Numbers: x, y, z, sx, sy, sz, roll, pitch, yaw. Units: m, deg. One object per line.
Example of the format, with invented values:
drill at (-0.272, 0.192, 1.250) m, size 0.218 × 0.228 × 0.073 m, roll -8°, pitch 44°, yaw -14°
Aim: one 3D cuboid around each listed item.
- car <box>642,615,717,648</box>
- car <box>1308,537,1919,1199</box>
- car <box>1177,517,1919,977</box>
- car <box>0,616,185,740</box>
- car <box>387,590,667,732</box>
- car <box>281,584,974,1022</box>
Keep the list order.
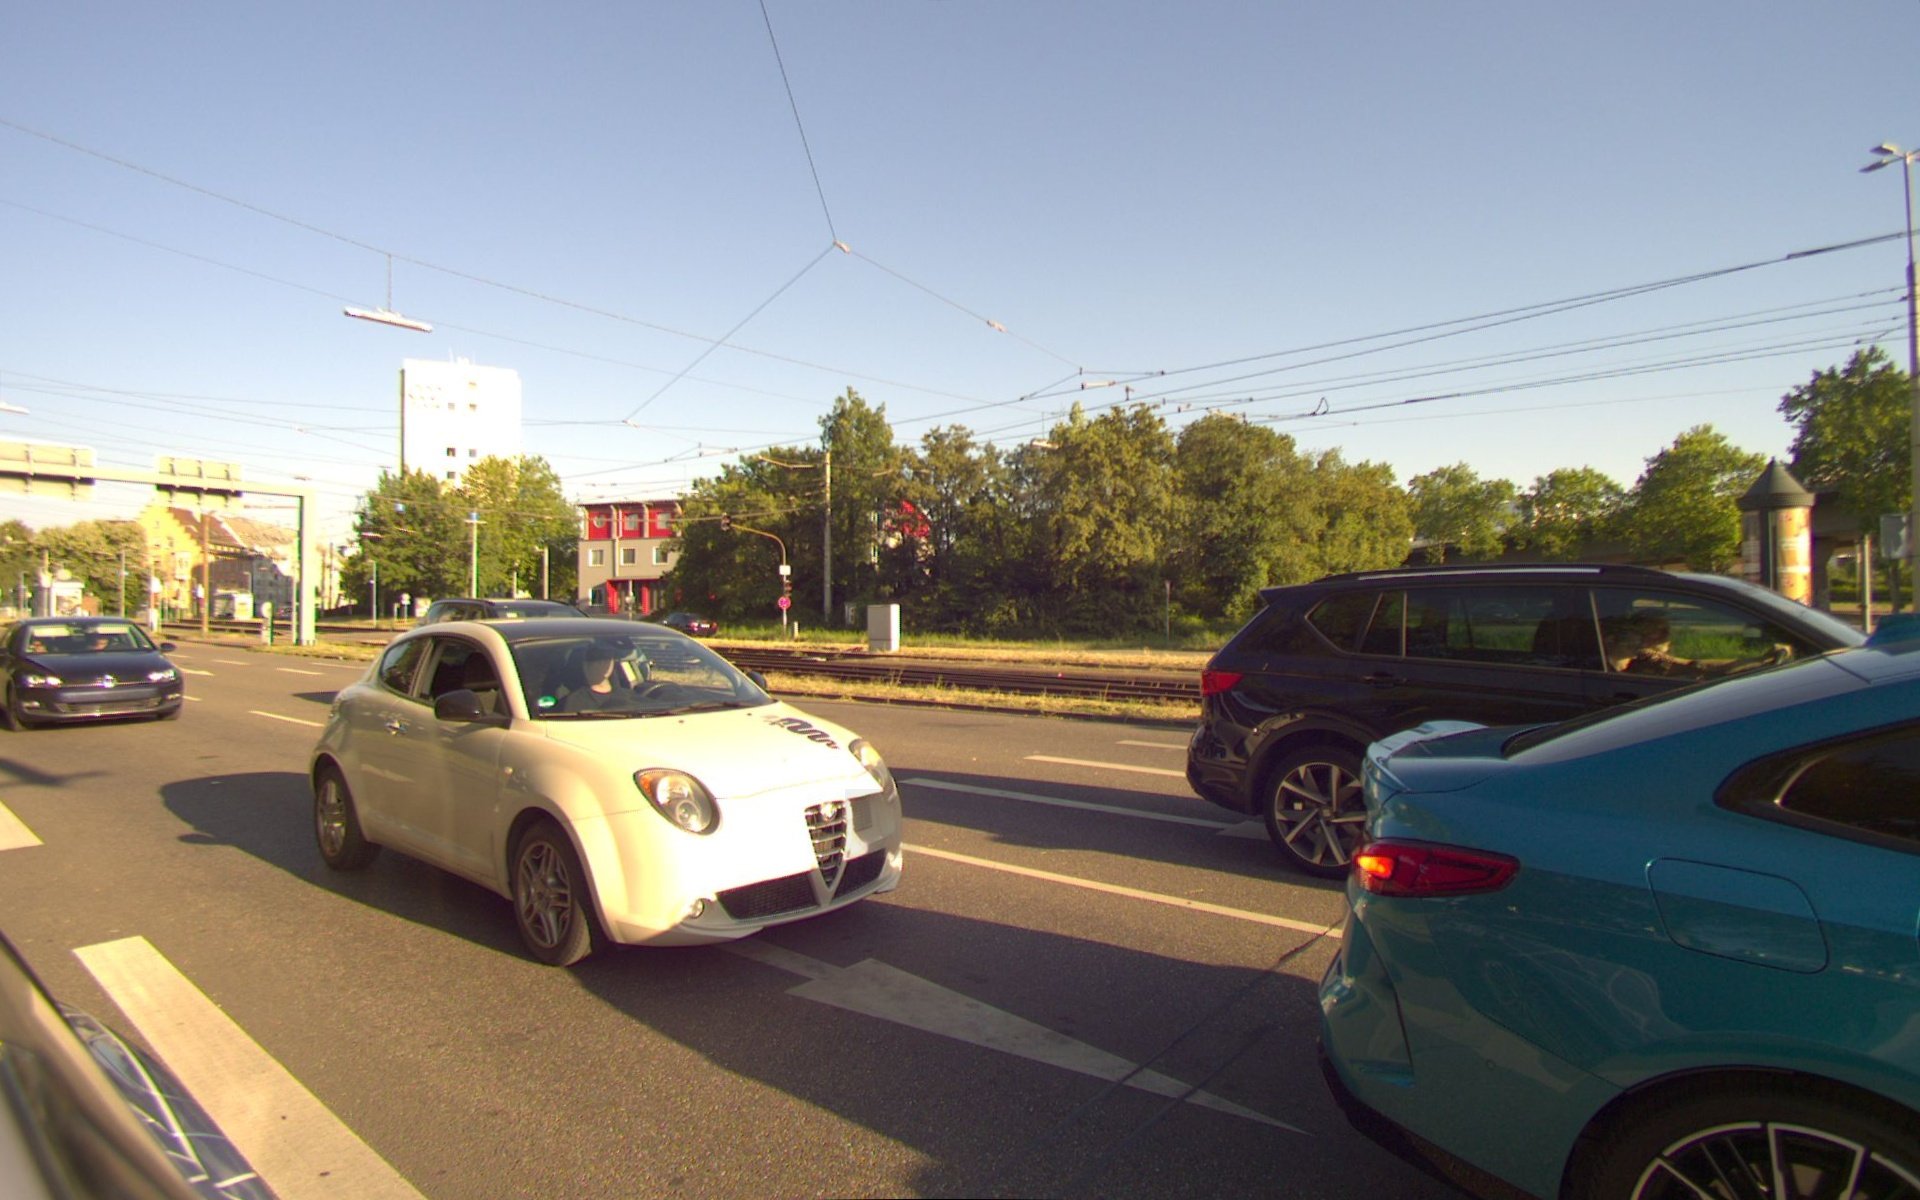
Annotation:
car at (-15.486, 1.719, 55.817) m, size 4.755 × 1.691 × 1.729 m, roll -1°, pitch -1°, yaw 42°
car at (2.888, 0.636, 1.451) m, size 4.201 × 1.477 × 1.697 m, roll -1°, pitch -2°, yaw 38°
car at (3.558, 0.571, 4.941) m, size 4.623 × 1.692 × 1.794 m, roll -2°, pitch -2°, yaw 43°
car at (-12.282, 0.961, 13.940) m, size 3.997 × 1.448 × 1.719 m, roll -1°, pitch -1°, yaw 40°
car at (-6.098, 0.774, 14.059) m, size 4.273 × 1.675 × 1.881 m, roll -1°, pitch -2°, yaw 40°
car at (-2.007, 0.757, 5.479) m, size 3.997 × 1.517 × 1.719 m, roll -1°, pitch -2°, yaw 40°
